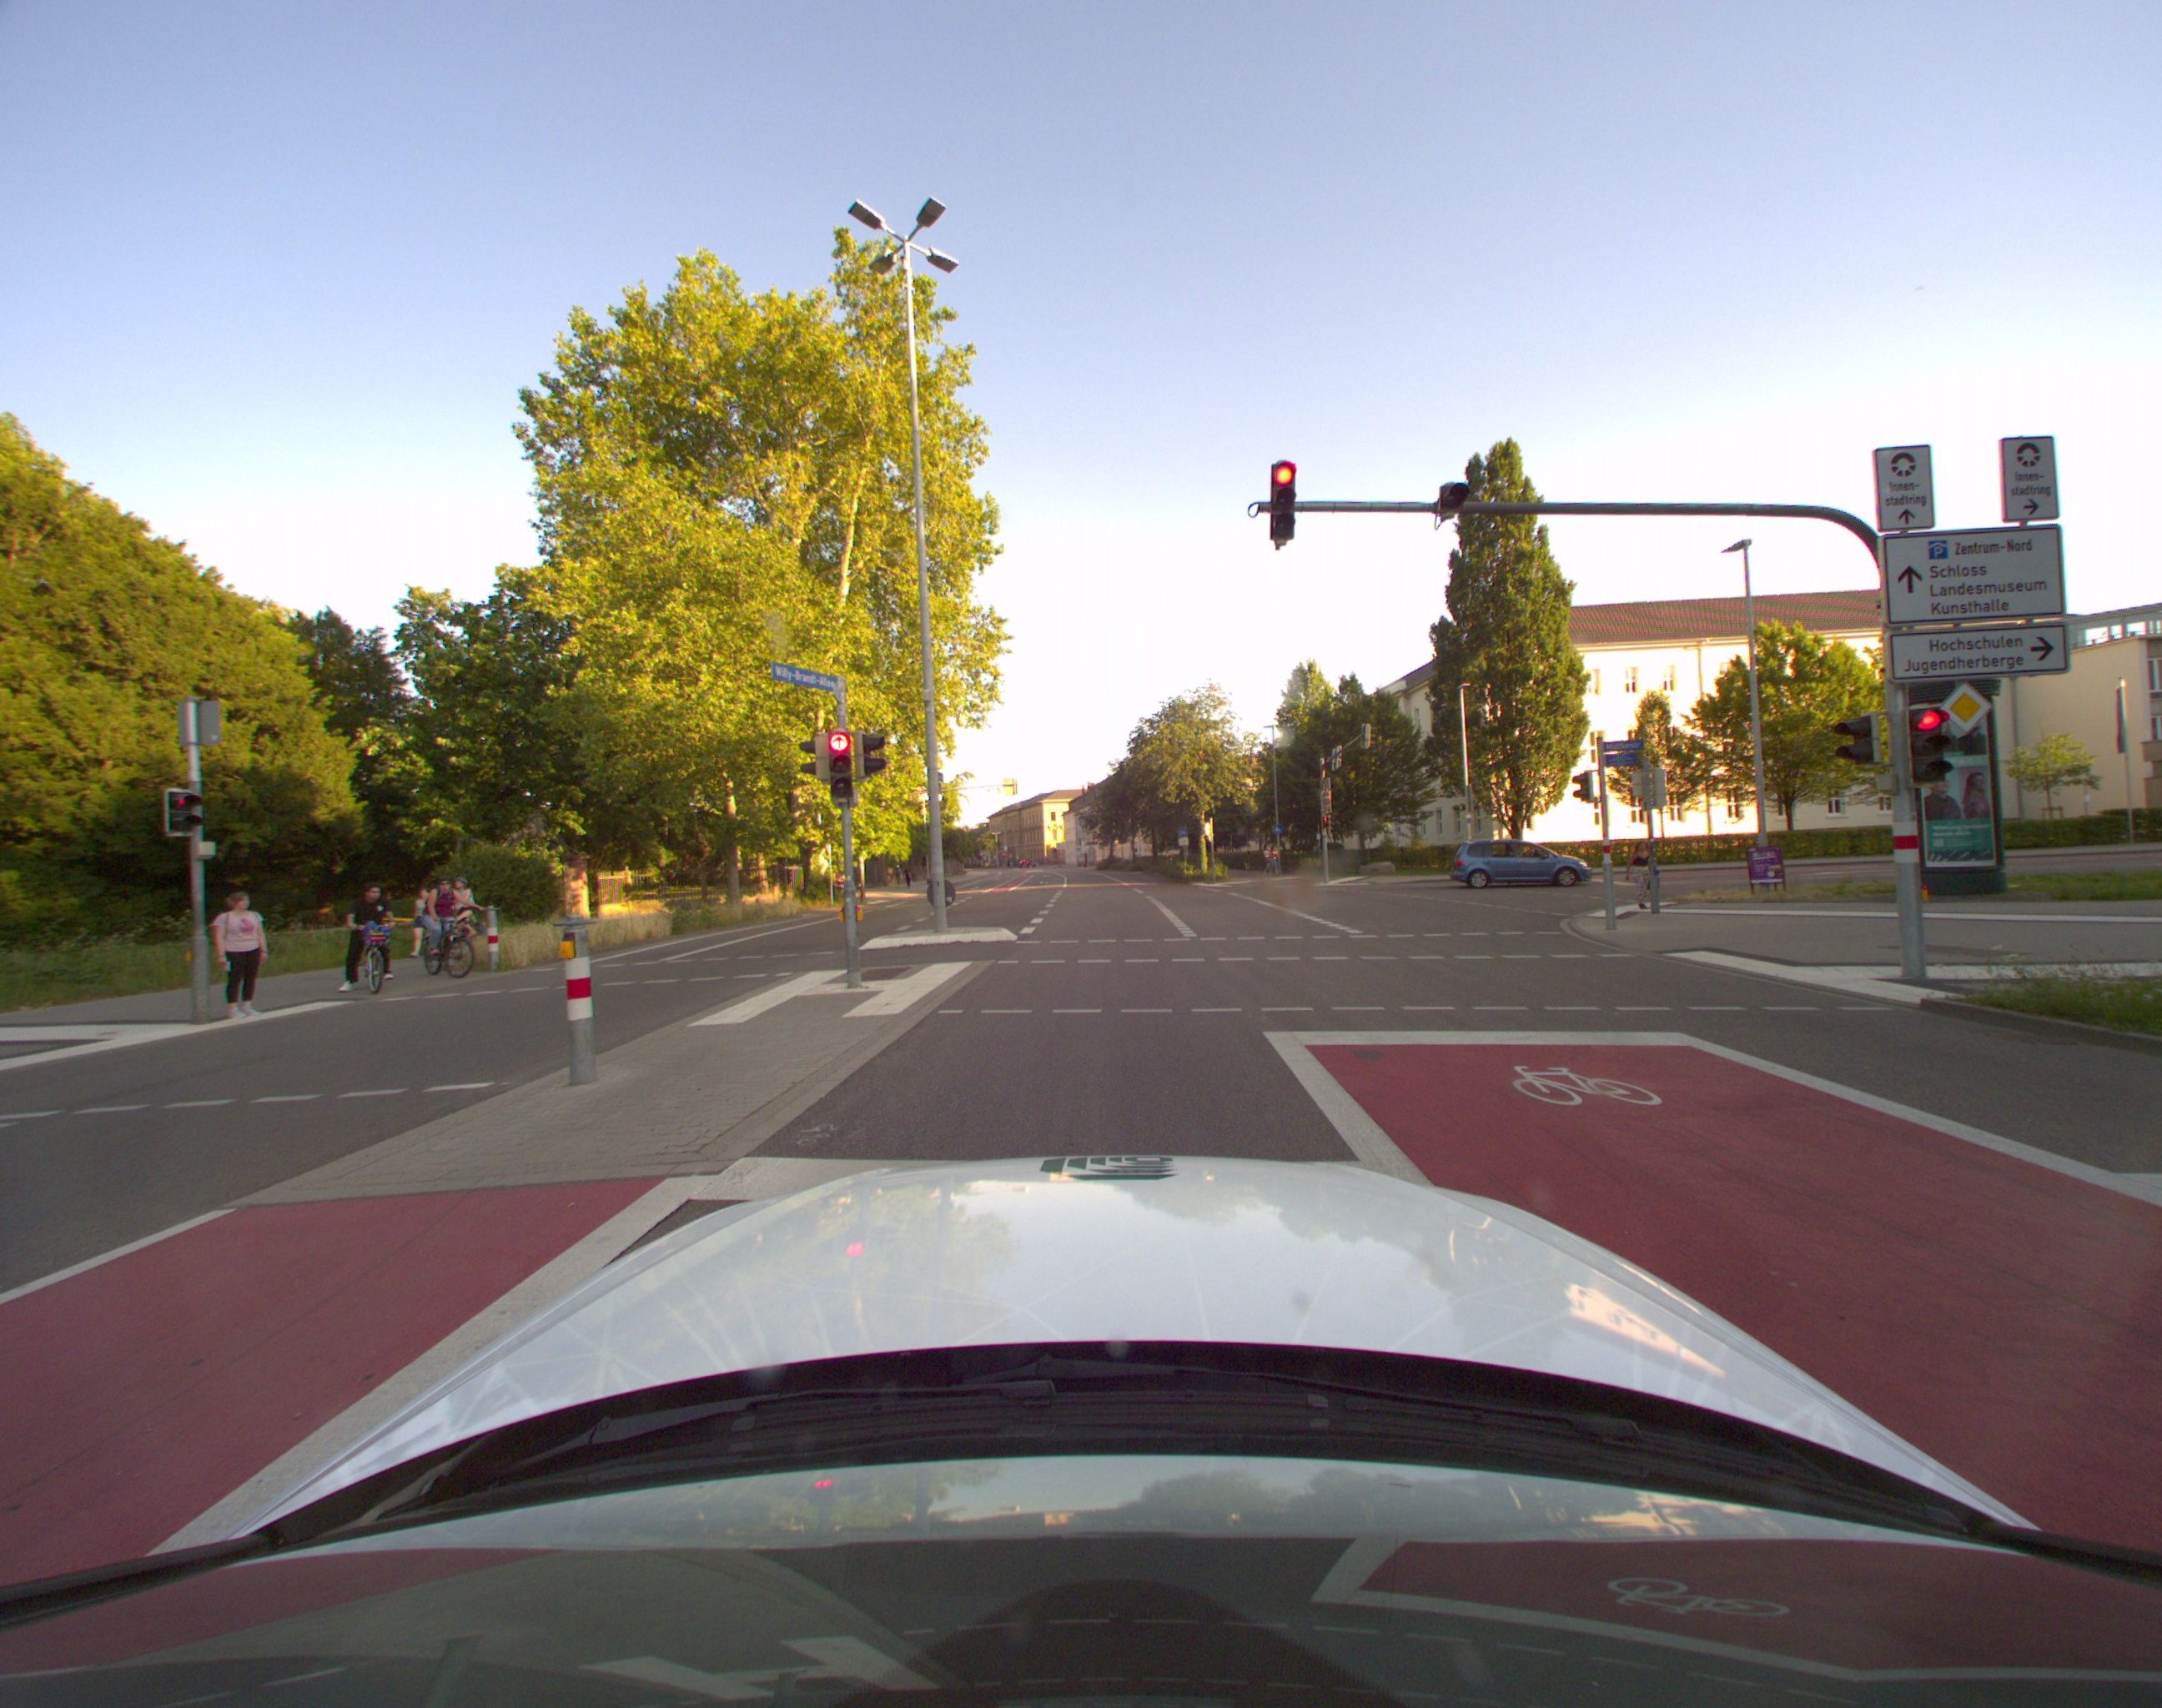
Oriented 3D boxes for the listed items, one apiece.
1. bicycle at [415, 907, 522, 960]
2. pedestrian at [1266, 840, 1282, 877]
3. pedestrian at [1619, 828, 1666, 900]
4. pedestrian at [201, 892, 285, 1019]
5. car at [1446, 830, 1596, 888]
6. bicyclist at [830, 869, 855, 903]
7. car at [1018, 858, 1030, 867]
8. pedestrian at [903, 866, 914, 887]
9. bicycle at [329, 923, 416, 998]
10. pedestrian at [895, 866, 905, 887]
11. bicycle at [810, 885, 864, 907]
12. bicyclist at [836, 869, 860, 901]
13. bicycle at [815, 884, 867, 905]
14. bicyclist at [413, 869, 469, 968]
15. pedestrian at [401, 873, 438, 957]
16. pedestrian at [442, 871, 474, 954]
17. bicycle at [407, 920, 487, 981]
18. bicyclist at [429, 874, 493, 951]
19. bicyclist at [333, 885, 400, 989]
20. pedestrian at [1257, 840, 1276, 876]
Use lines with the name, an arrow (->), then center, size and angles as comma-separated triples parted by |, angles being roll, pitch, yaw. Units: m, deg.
bicycle -> -14.586, 1.871, 19.497 | 0.736, 1.033, 2.298 | -2, 0, 2
pedestrian -> 10.647, 0.232, 44.967 | 0.633, 2.014, 0.720 | -2, -1, -2
pedestrian -> 13.056, 0.220, 18.950 | 0.597, 1.636, 0.692 | -2, 0, 4
pedestrian -> -11.766, 1.402, 11.446 | 0.604, 1.695, 0.499 | -3, -1, 3
car -> 14.930, 0.167, 27.898 | 4.246, 1.720, 1.865 | -3, 2, 19
bicyclist -> -11.913, 1.593, 40.705 | 0.954, 1.631, 0.753 | -3, 0, 2
car -> -11.965, 1.769, 170.240 | 1.821, 1.588, 3.983 | -4, 0, -12
pedestrian -> -12.962, 1.674, 61.360 | 0.597, 1.573, 0.646 | -3, 0, 1
bicycle -> -11.728, 1.727, 13.468 | 1.548, 1.111, 0.637 | -3, -1, 32
pedestrian -> -13.611, 1.682, 61.386 | 0.533, 1.596, 0.591 | -3, 0, 1
bicycle -> -12.173, 2.094, 40.720 | 2.420, 0.924, 0.775 | -3, 0, 2
bicyclist -> -12.156, 1.609, 42.512 | 0.954, 1.631, 0.753 | -3, 0, 2
bicycle -> -12.514, 2.117, 42.514 | 2.420, 0.924, 0.775 | -3, 0, 2
bicyclist -> -11.954, 1.184, 15.219 | 0.631, 1.780, 0.580 | -3, -1, 32
pedestrian -> -16.289, 1.486, 20.057 | 0.654, 2.014, 0.599 | -1, -1, -37
pedestrian -> -15.601, 1.452, 20.380 | 0.598, 2.014, 0.634 | -1, -1, -38
bicycle -> -11.784, 1.763, 15.117 | 1.749, 1.030, 0.583 | -3, -1, 32
bicyclist -> -14.641, 1.353, 19.261 | 0.753, 1.728, 0.944 | -2, -1, -1
bicyclist -> -11.905, 1.362, 13.581 | 0.631, 1.649, 0.634 | -3, -1, 32
pedestrian -> 10.531, 0.221, 46.339 | 0.867, 2.014, 0.722 | -2, -1, 1
